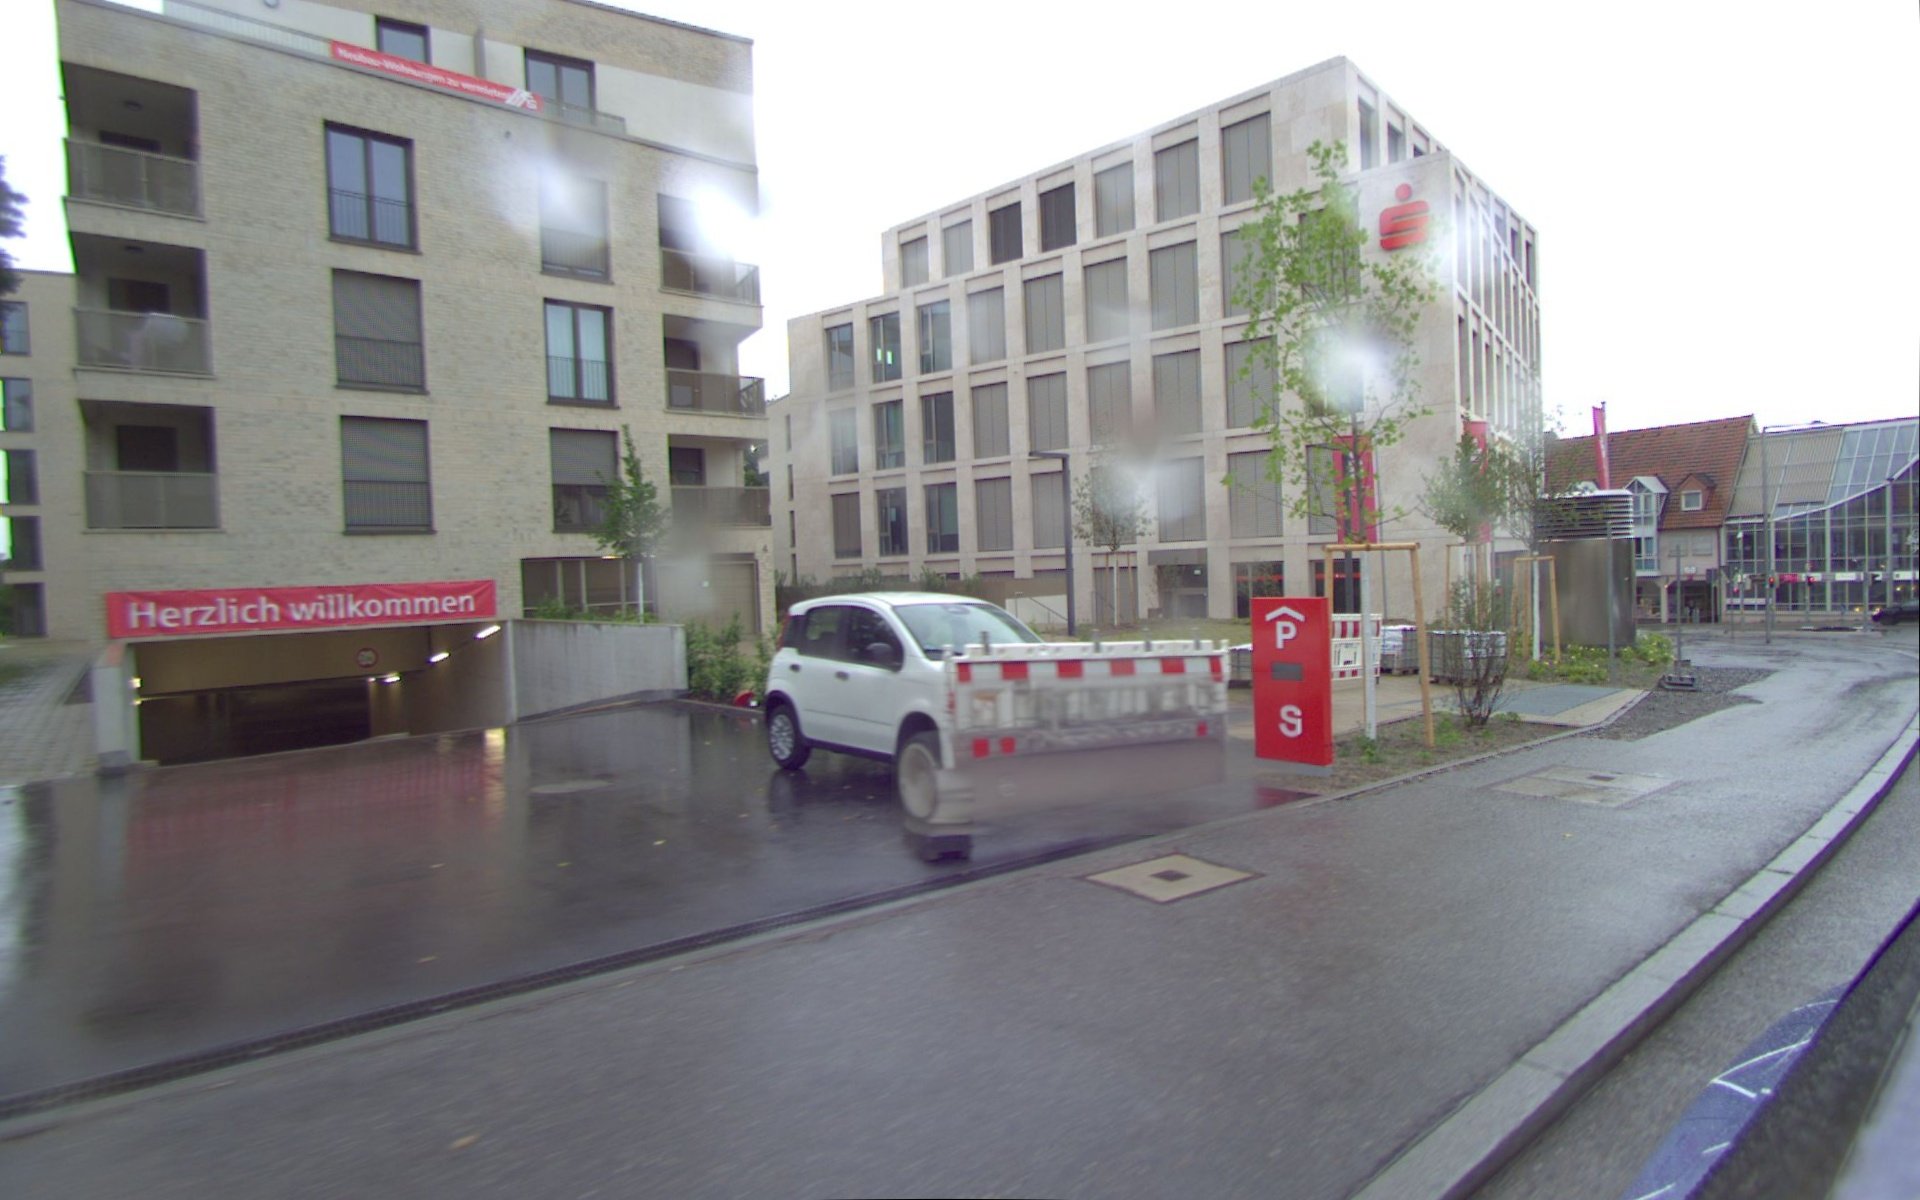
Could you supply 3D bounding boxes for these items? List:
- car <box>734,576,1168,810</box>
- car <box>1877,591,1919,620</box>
[{"bbox_3d":[-0.258,0.641,8.577,1.745,1.522,3.673,0,-1,-40],"label":"car"},{"bbox_3d":[51.329,0.285,53.417,1.962,1.562,4.000,0,0,-34],"label":"car"}]
